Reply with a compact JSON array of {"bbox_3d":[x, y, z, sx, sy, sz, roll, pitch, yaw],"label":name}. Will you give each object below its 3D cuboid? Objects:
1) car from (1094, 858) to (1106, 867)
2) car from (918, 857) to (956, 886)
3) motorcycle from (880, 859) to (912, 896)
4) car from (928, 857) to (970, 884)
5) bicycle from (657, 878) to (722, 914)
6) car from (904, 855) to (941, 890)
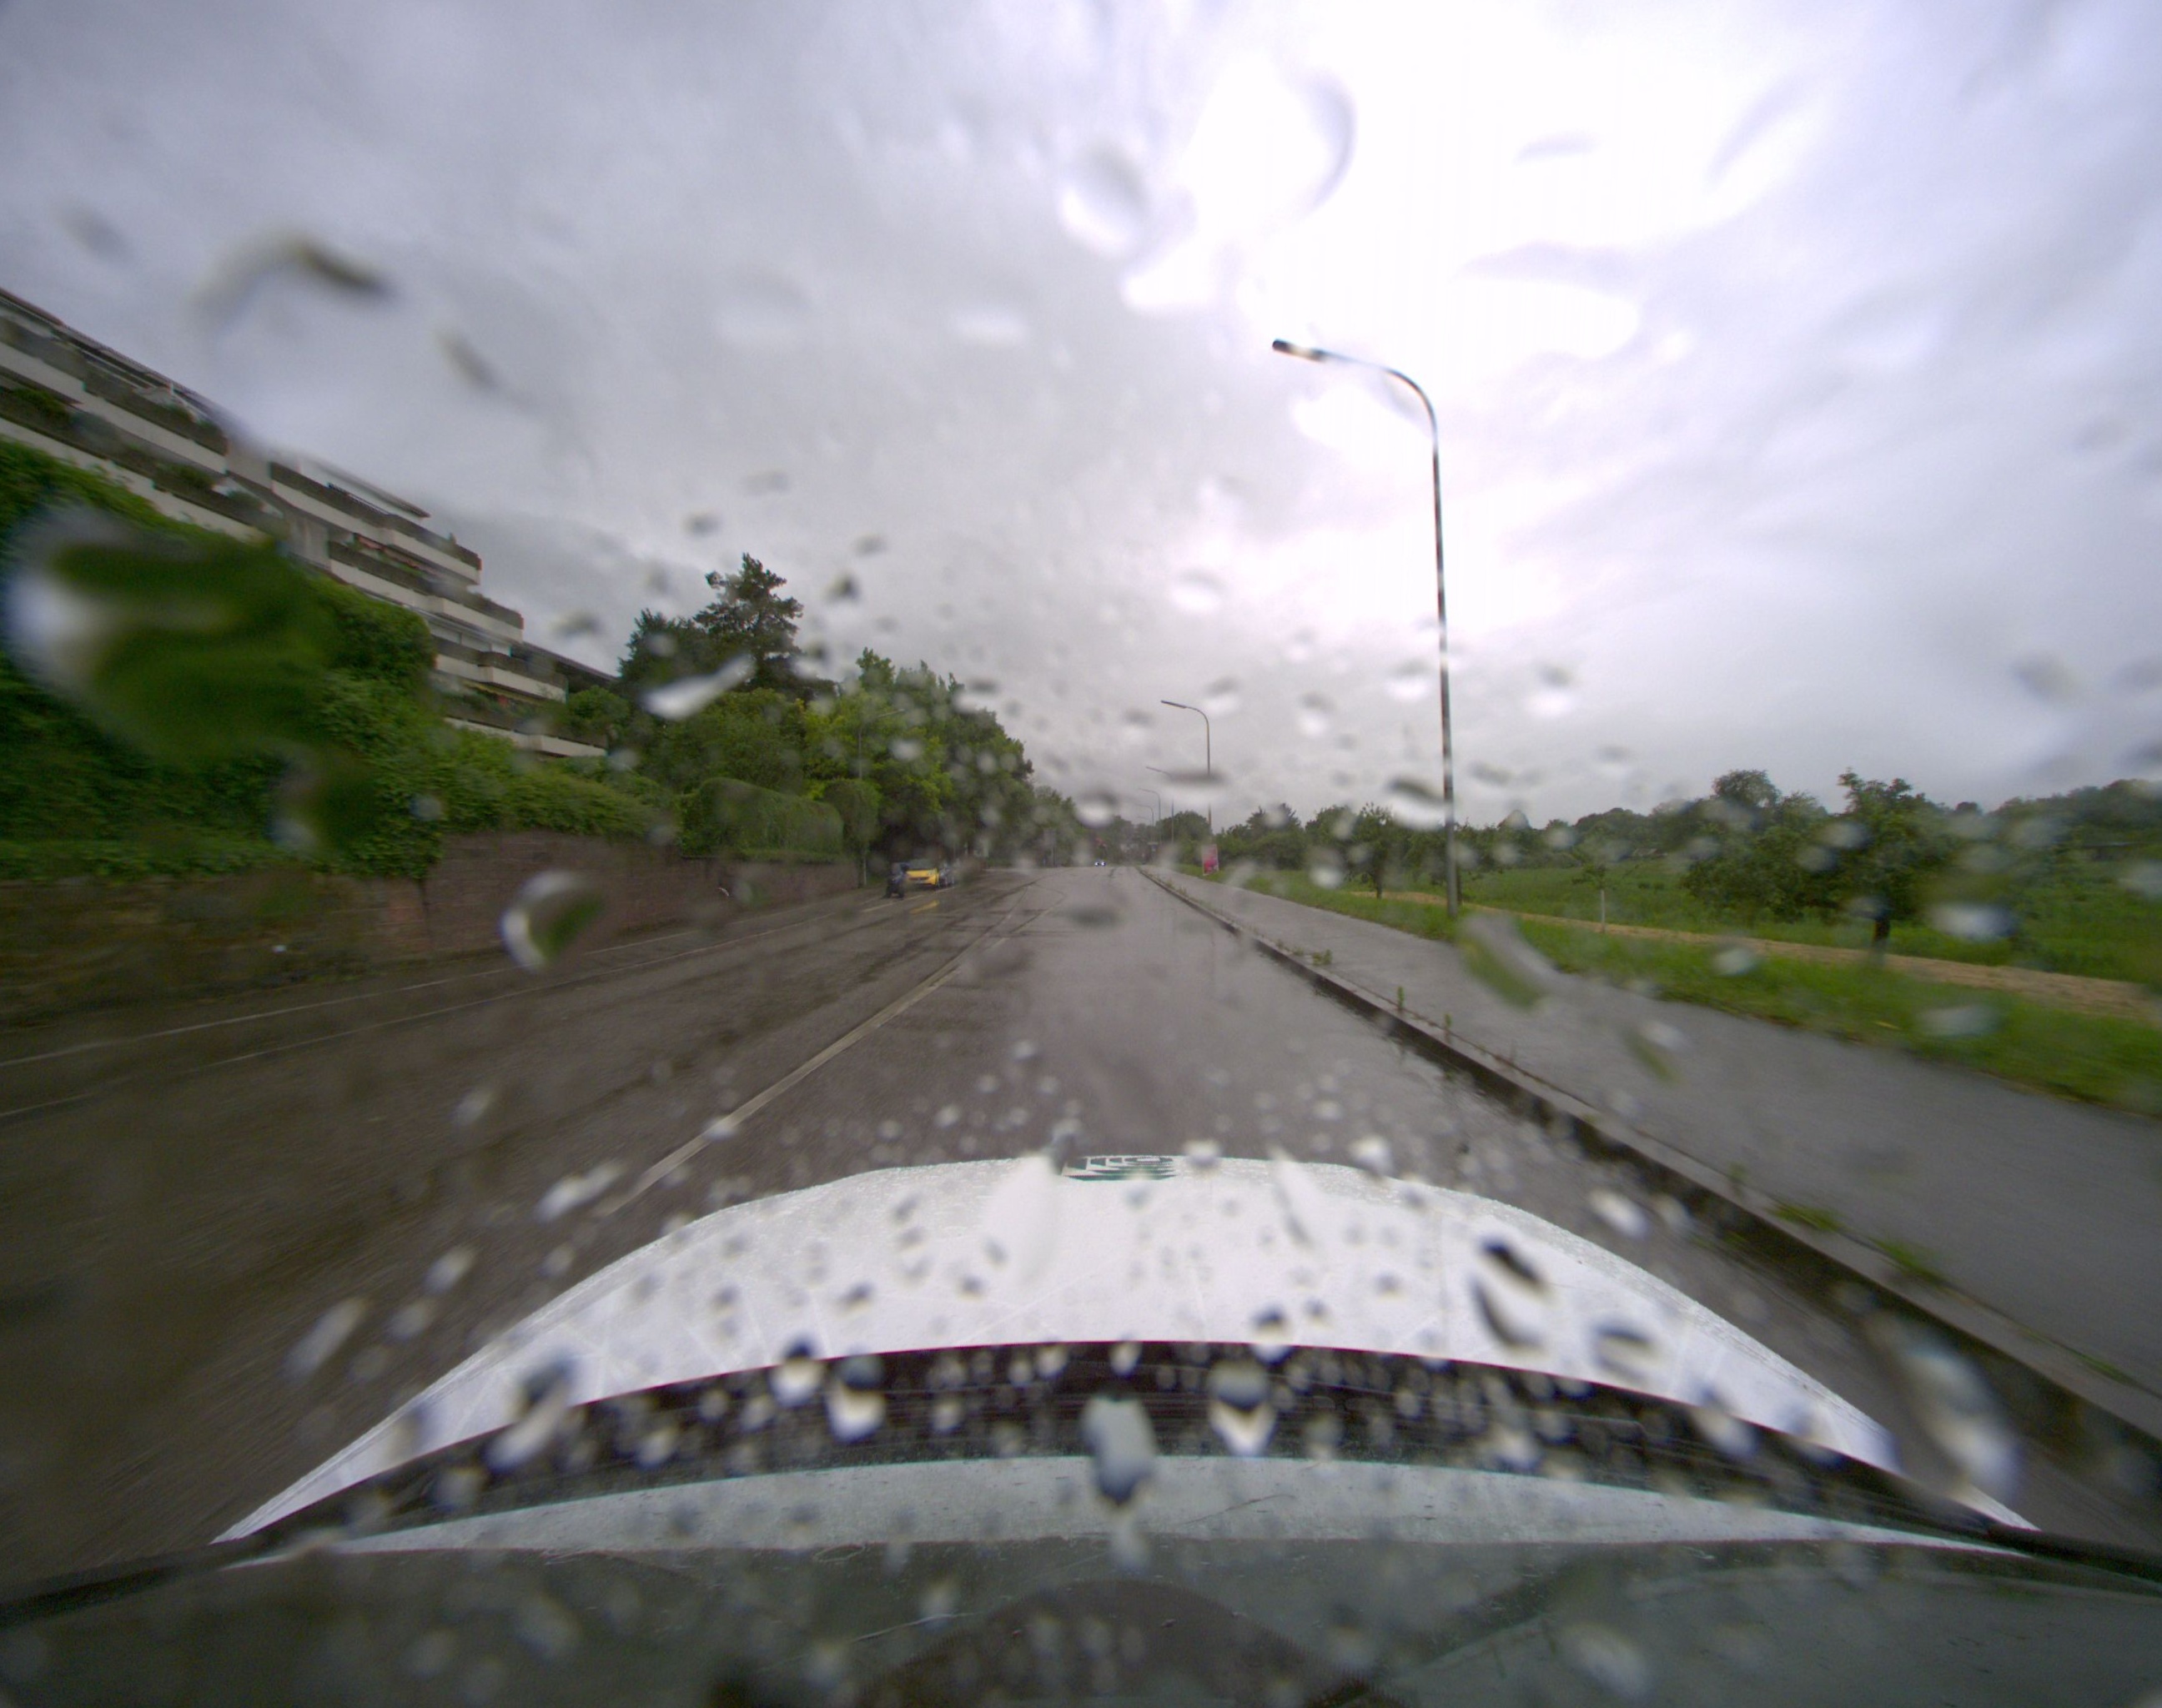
[{"bbox_3d":[3.971,1.753,172.717,1.782,1.762,4.013,-1,0,12],"label":"car"},{"bbox_3d":[-7.451,0.875,42.413,1.430,1.419,4.099,-2,0,-3],"label":"car"},{"bbox_3d":[-7.178,0.873,31.687,0.836,1.341,2.495,-2,0,-5],"label":"motorcycle"},{"bbox_3d":[-7.702,0.921,47.782,1.681,1.419,4.740,-2,0,-1],"label":"car"},{"bbox_3d":[-10.382,1.104,21.623,1.481,0.929,0.469,0,-1,-4],"label":"bicycle"},{"bbox_3d":[-7.439,0.844,38.352,1.432,1.537,2.813,-2,0,-7],"label":"car"}]
